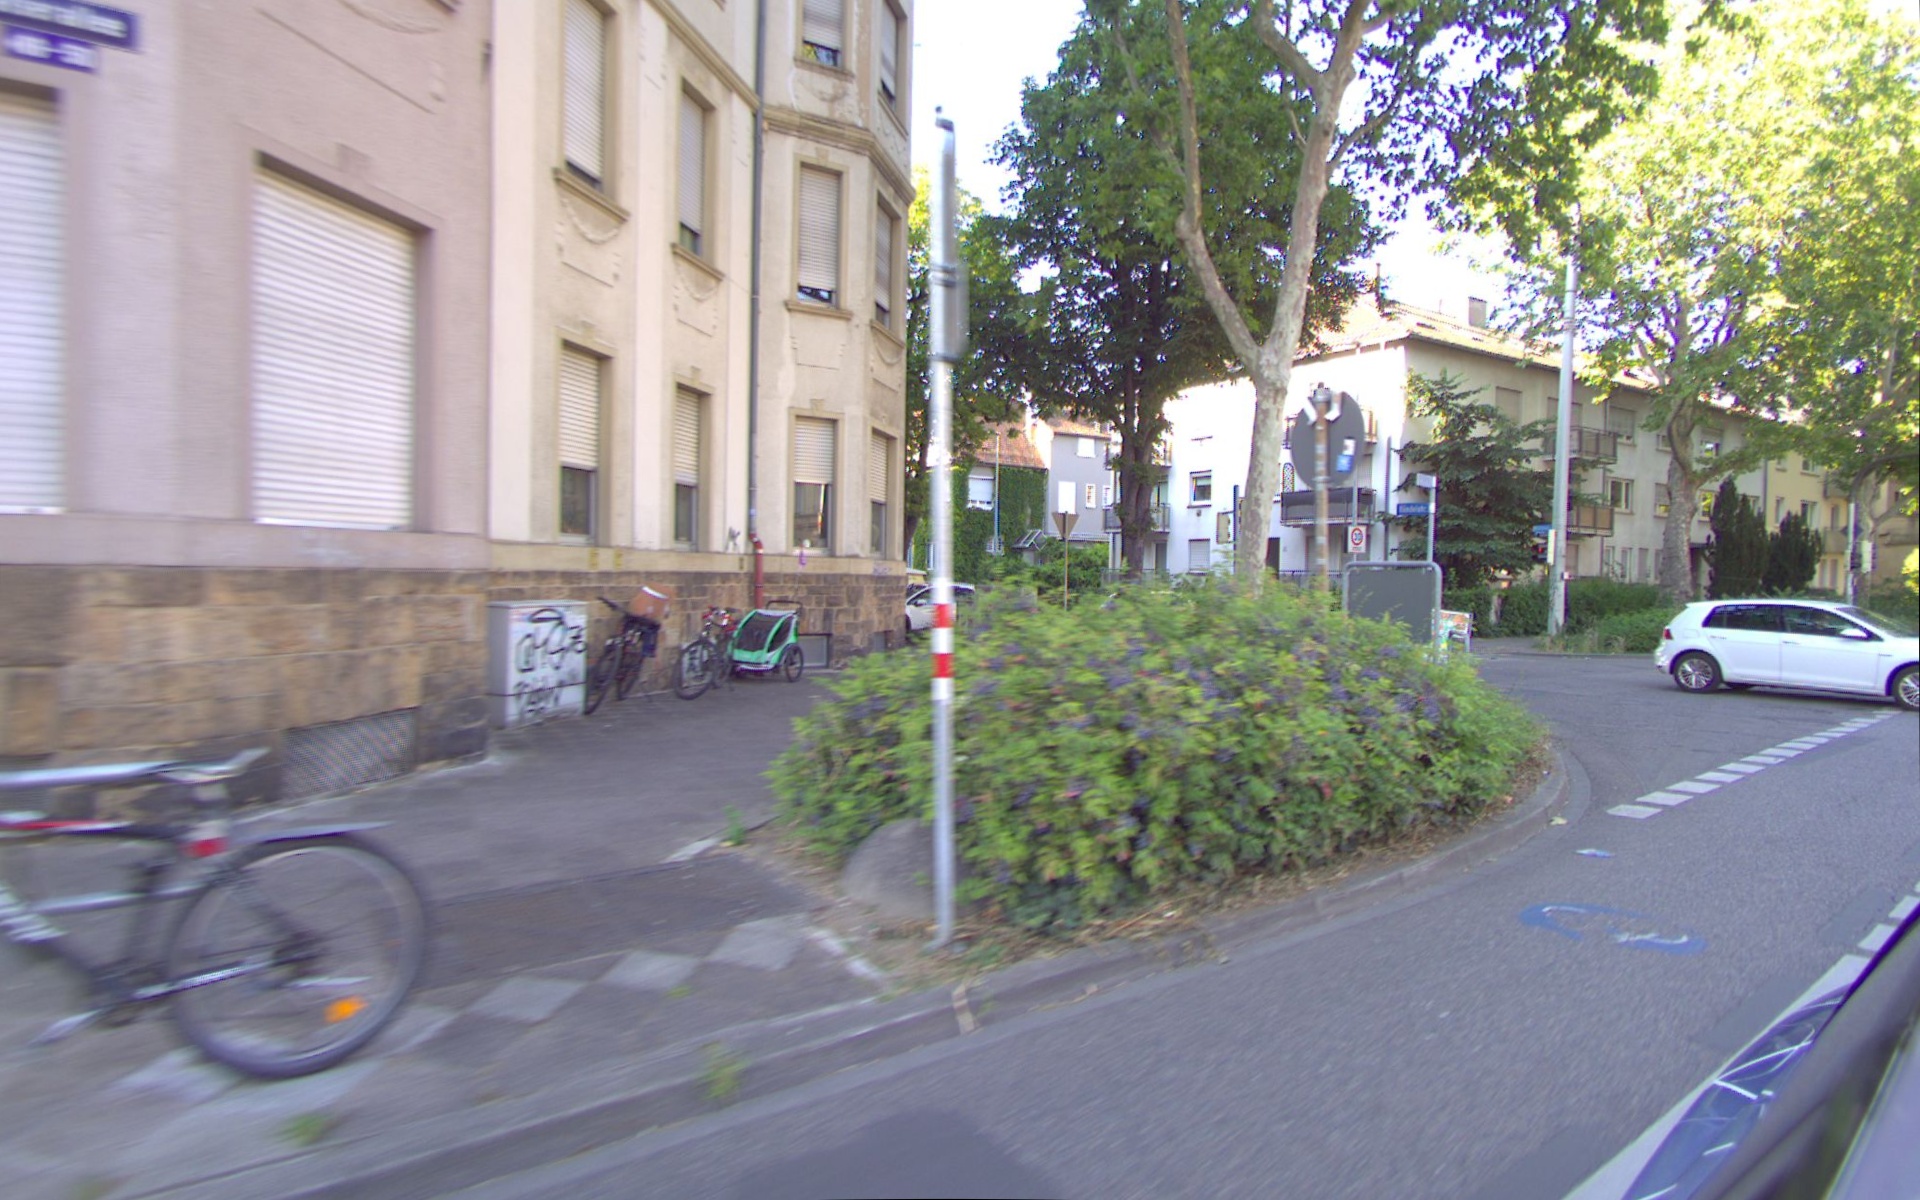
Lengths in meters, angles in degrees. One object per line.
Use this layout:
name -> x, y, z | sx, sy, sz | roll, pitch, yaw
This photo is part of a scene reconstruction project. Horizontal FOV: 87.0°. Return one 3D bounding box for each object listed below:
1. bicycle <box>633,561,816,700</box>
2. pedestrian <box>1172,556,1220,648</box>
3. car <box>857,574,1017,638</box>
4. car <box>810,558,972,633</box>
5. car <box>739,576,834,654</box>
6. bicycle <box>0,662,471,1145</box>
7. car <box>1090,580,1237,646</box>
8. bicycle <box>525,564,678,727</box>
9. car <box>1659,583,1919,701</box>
bicycle -> -2.771, 0.267, 12.491 | 0.939, 1.490, 3.148 | 0, 2, 12
pedestrian -> 4.809, 0.021, 20.648 | 0.688, 1.828, 0.667 | -1, 2, -24
car -> -0.589, 0.146, 27.155 | 3.968, 1.595, 1.685 | 0, 1, -32
car -> -2.002, -0.140, 29.619 | 4.346, 2.008, 1.762 | 1, 4, -30
car -> -2.401, 0.189, 14.108 | 0.914, 0.959, 1.060 | 5, 3, 15
bicycle -> -2.299, 0.751, 2.611 | 1.837, 1.082, 0.371 | 0, 1, -33
car -> 5.302, 0.273, 26.937 | 1.745, 1.544, 4.064 | -1, 2, -26
bicycle -> -3.393, 0.371, 9.772 | 0.365, 1.412, 1.923 | 1, 1, 15
car -> 12.829, 0.537, 14.625 | 1.808, 1.468, 4.116 | -1, 2, -30
